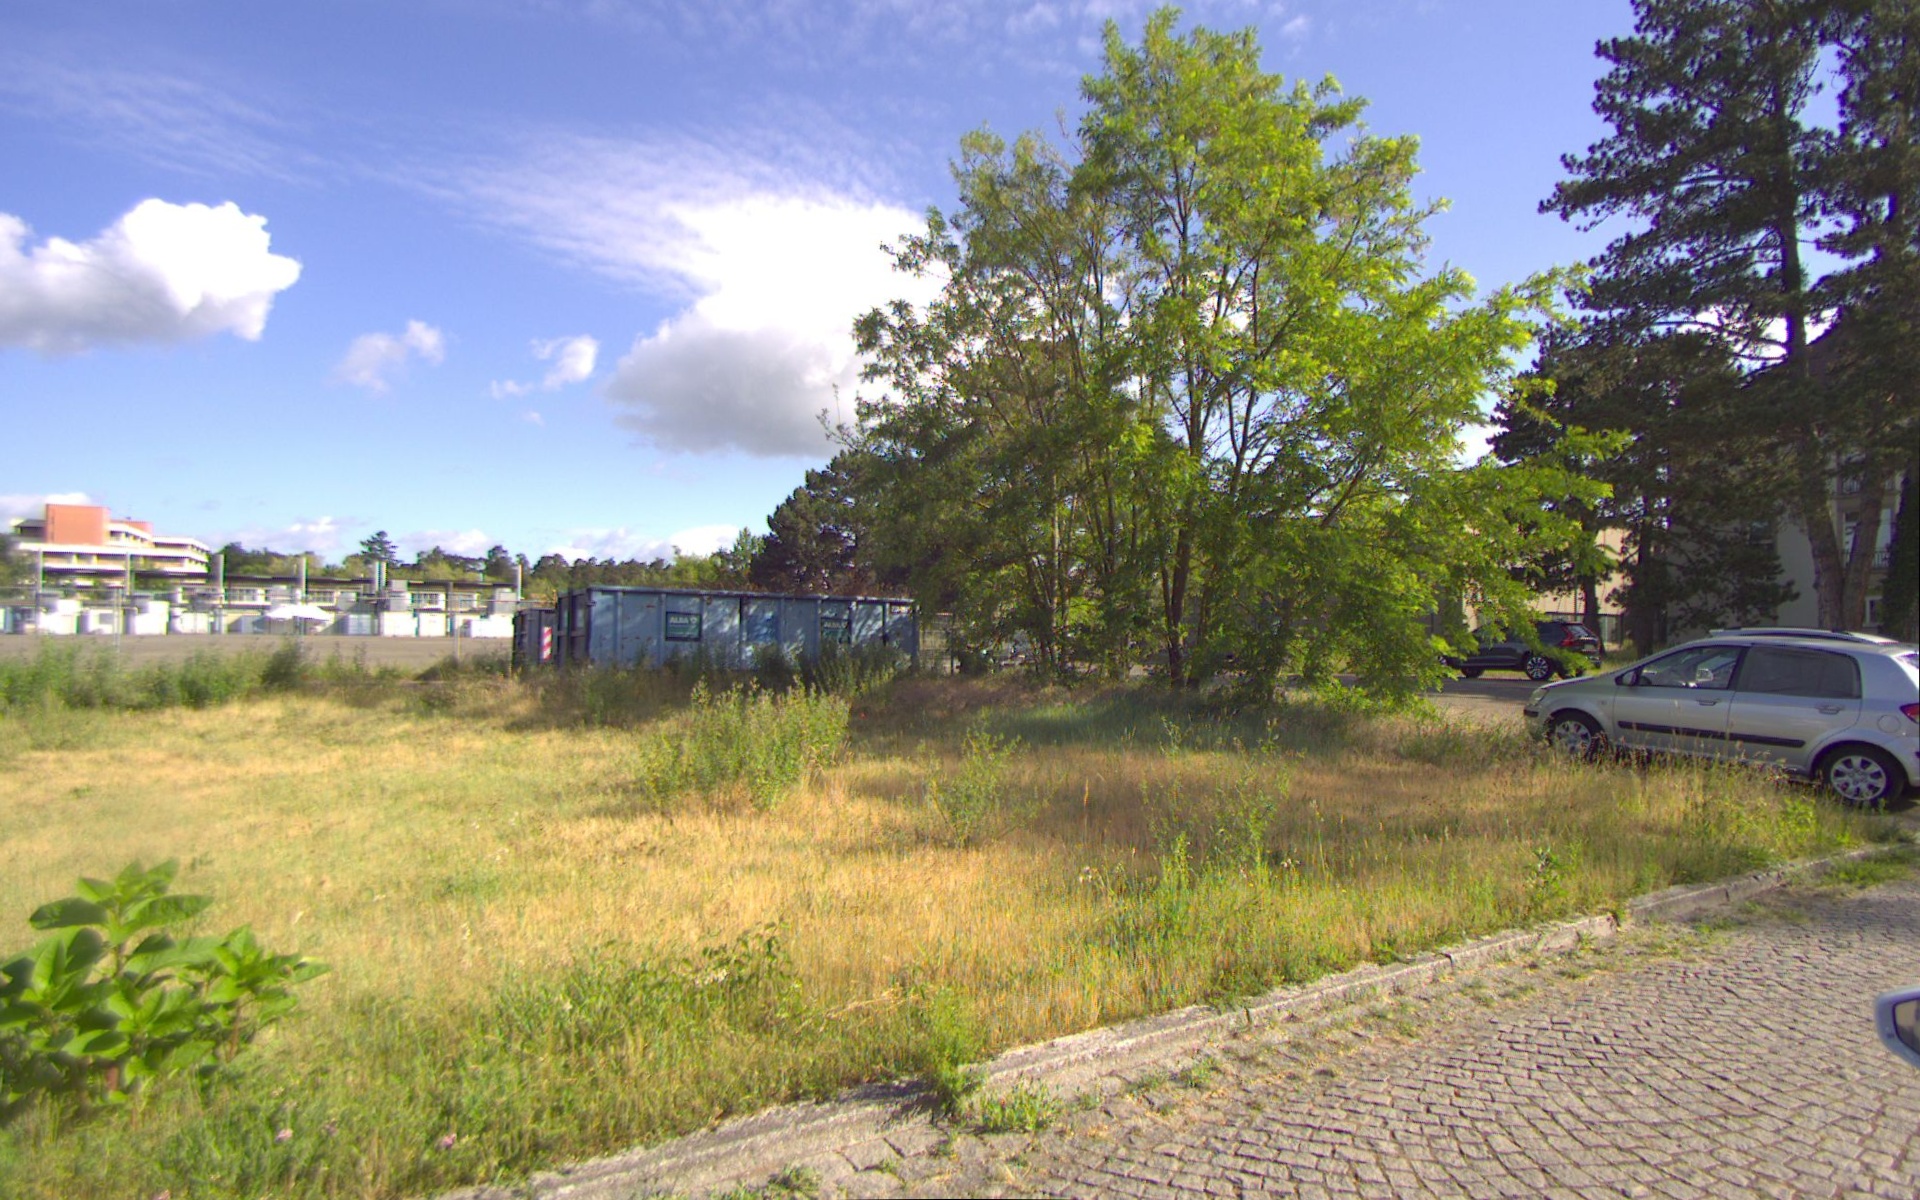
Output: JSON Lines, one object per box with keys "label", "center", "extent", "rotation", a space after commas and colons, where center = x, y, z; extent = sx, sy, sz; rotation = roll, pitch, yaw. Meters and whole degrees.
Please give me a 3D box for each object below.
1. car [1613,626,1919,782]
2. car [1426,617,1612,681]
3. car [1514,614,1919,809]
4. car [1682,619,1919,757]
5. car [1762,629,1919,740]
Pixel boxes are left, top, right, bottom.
{"label": "car", "center": [10.315, 1.168, 11.927], "extent": [1.672, 1.464, 3.916], "rotation": [2, 1, -31]}
{"label": "car", "center": [15.469, 1.325, 28.023], "extent": [1.986, 1.630, 4.125], "rotation": [1, -2, -29]}
{"label": "car", "center": [8.100, 1.008, 10.506], "extent": [1.681, 1.548, 3.664], "rotation": [2, 1, -33]}
{"label": "car", "center": [12.449, 1.160, 13.708], "extent": [1.642, 1.637, 3.859], "rotation": [2, 1, -31]}
{"label": "car", "center": [14.729, 1.298, 14.955], "extent": [1.749, 1.516, 3.974], "rotation": [1, 1, -26]}
